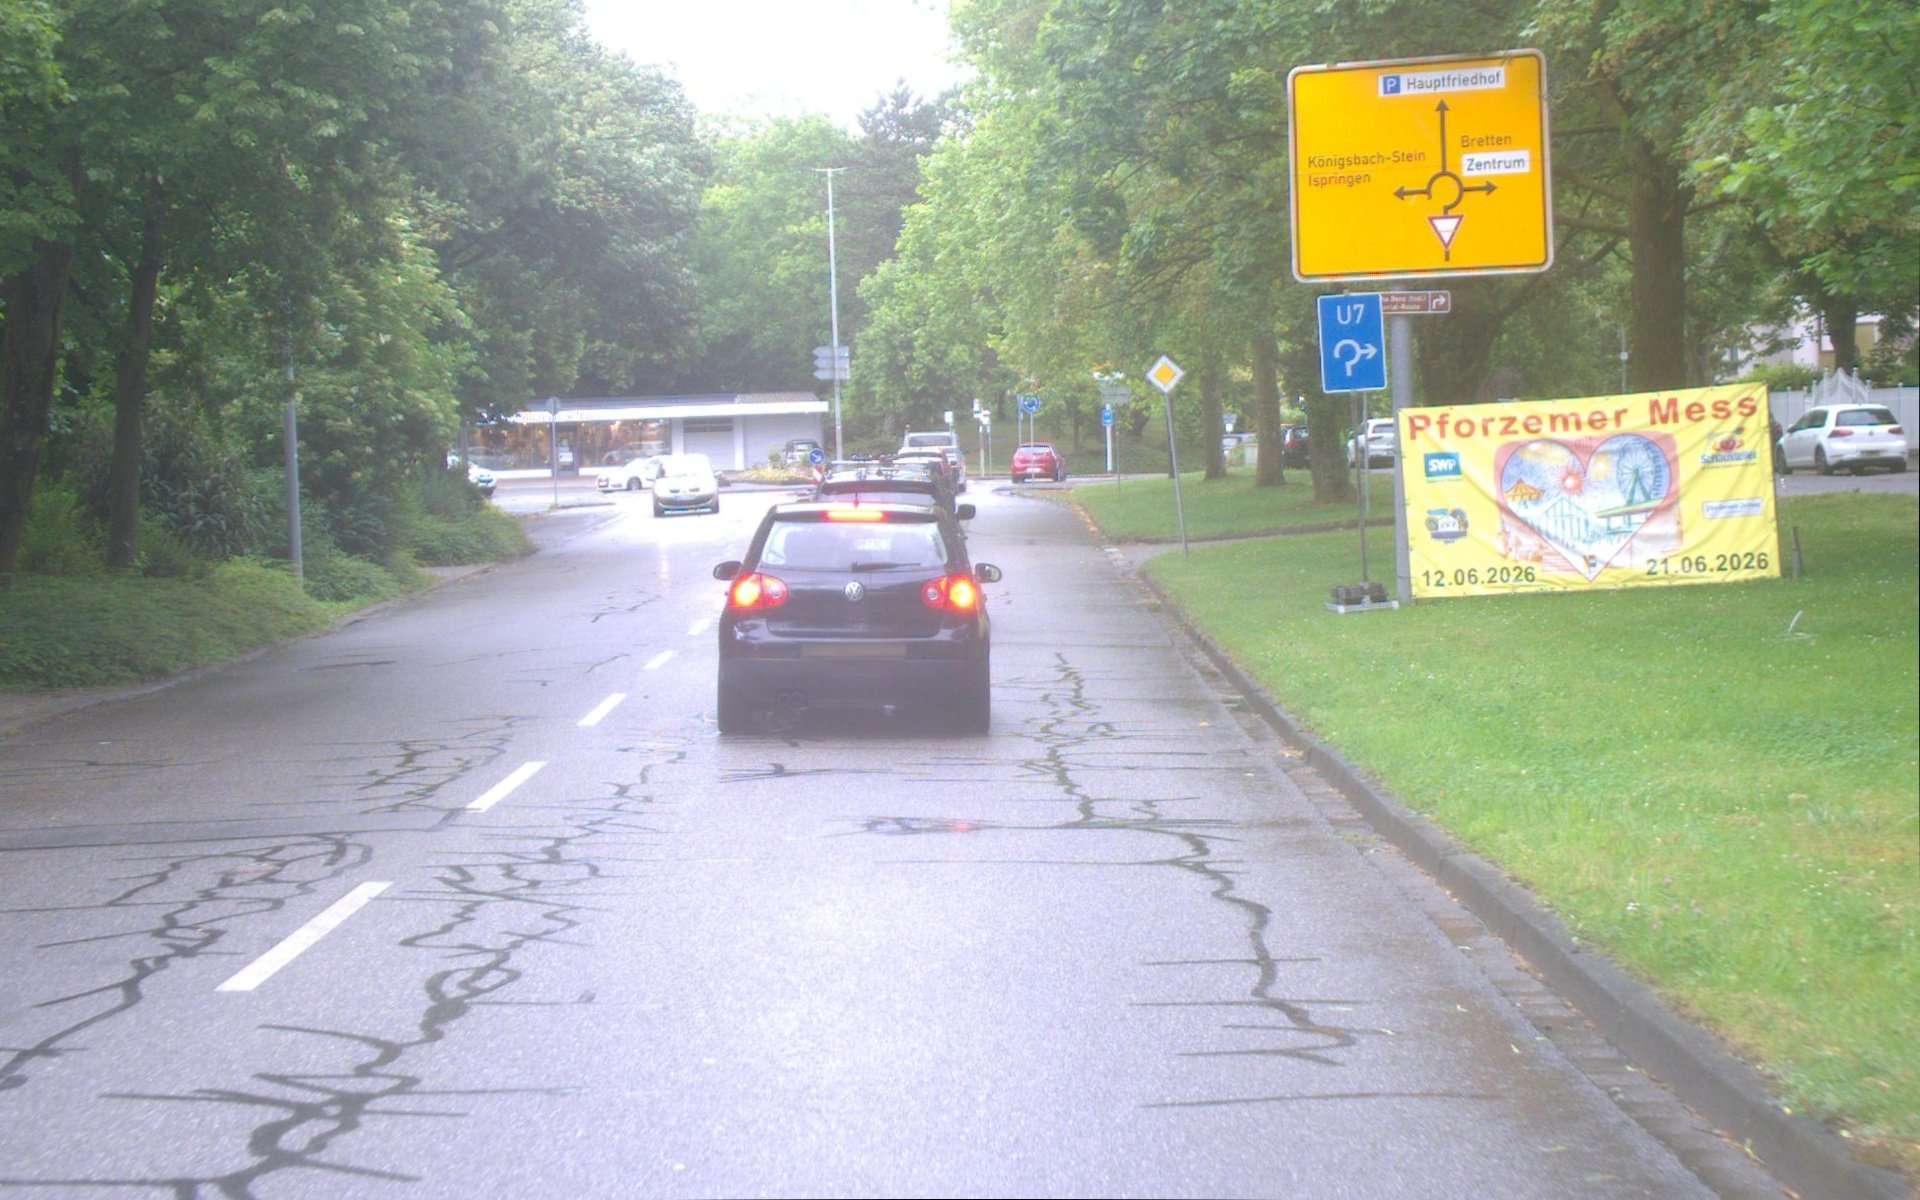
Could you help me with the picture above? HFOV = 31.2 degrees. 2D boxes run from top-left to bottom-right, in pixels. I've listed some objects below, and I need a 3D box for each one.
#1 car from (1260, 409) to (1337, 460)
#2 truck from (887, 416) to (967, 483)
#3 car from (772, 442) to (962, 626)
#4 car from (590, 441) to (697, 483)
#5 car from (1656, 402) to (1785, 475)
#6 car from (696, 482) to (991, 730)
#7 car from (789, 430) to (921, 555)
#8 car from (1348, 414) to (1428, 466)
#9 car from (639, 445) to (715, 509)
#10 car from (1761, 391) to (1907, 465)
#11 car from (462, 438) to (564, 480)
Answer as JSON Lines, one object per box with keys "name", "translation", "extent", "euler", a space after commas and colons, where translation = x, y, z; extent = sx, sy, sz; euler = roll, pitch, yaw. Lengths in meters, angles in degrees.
{"name": "car", "translation": [10.136, -4.986, 103.192], "extent": [1.803, 1.380, 4.001], "euler": [-4, 3, 0]}
{"name": "truck", "translation": [-1.062, -4.752, 108.812], "extent": [2.416, 1.997, 5.152], "euler": [-2, 2, -1]}
{"name": "car", "translation": [-0.942, -0.761, 36.668], "extent": [1.855, 1.778, 4.001], "euler": [-2, 3, 0]}
{"name": "car", "translation": [-12.379, -5.431, 134.749], "extent": [3.998, 1.422, 1.612], "euler": [-6, 5, -44]}
{"name": "car", "translation": [17.392, -3.718, 78.771], "extent": [1.801, 1.524, 4.114], "euler": [-3, 4, -3]}
{"name": "car", "translation": [-0.721, -0.025, 22.923], "extent": [1.798, 1.510, 3.754], "euler": [0, 2, 0]}
{"name": "car", "translation": [-1.569, -1.663, 52.747], "extent": [1.855, 1.778, 4.001], "euler": [-2, 2, 0]}
{"name": "car", "translation": [12.855, -4.827, 103.502], "extent": [1.803, 1.401, 4.001], "euler": [-4, 3, 0]}
{"name": "car", "translation": [-7.681, -3.366, 93.702], "extent": [1.763, 1.608, 4.142], "euler": [-3, 3, -1]}
{"name": "car", "translation": [18.046, -3.581, 71.133], "extent": [1.616, 1.404, 4.012], "euler": [-3, 4, -6]}
{"name": "car", "translation": [-18.258, -5.768, 140.638], "extent": [3.794, 1.612, 1.777], "euler": [-3, 3, -44]}
